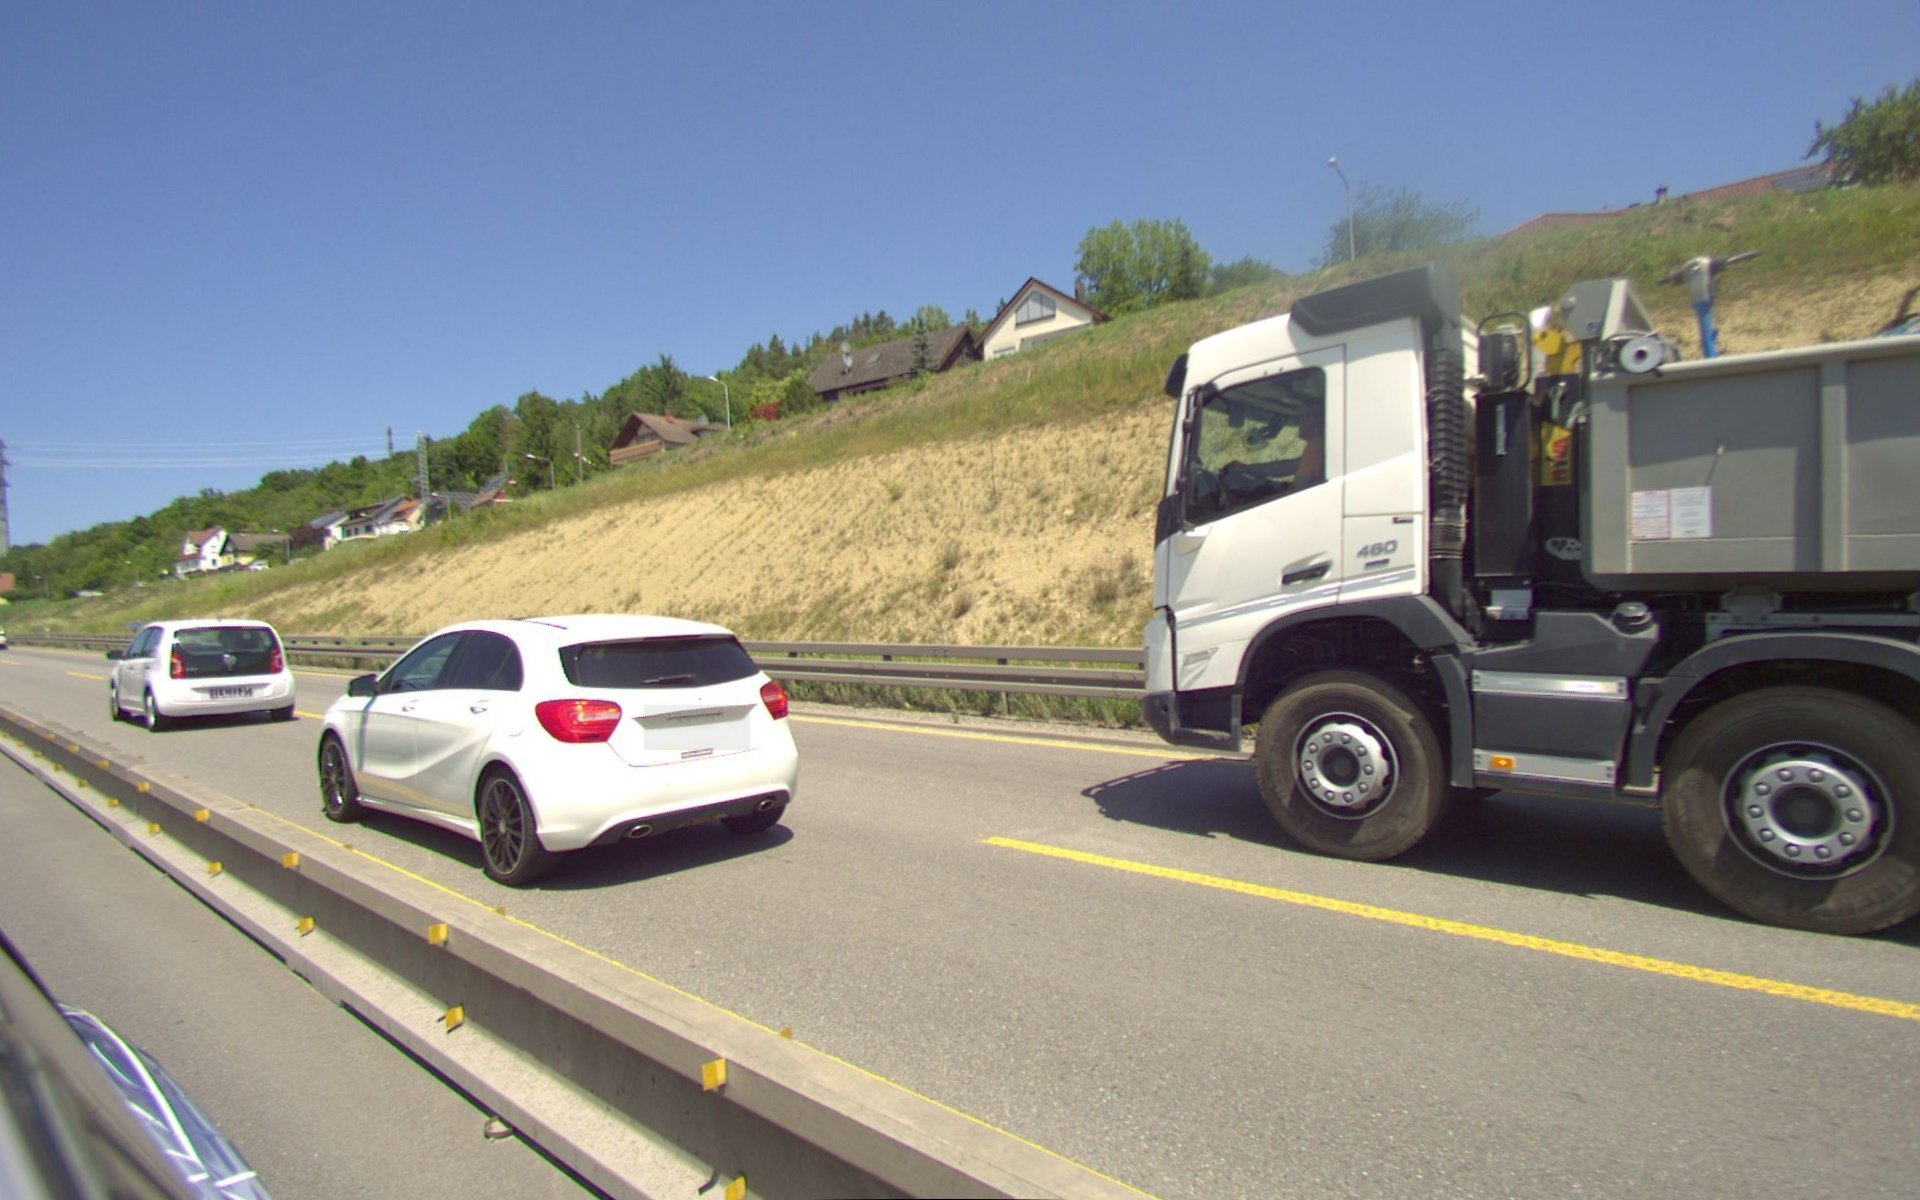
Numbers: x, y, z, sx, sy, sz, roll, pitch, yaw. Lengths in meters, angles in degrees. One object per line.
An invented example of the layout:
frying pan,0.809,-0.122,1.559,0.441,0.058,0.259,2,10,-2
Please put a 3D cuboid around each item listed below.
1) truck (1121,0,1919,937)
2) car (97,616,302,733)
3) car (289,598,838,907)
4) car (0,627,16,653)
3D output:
truck,5.379,-0.575,4.285,9.328,3.751,2.560,-2,-1,42
car,-10.900,0.984,14.439,3.290,1.441,1.667,-2,-1,41
car,-2.836,0.758,6.748,4.119,1.441,1.667,-2,-1,41
car,-60.596,2.532,63.261,4.511,1.596,1.879,-2,0,41
